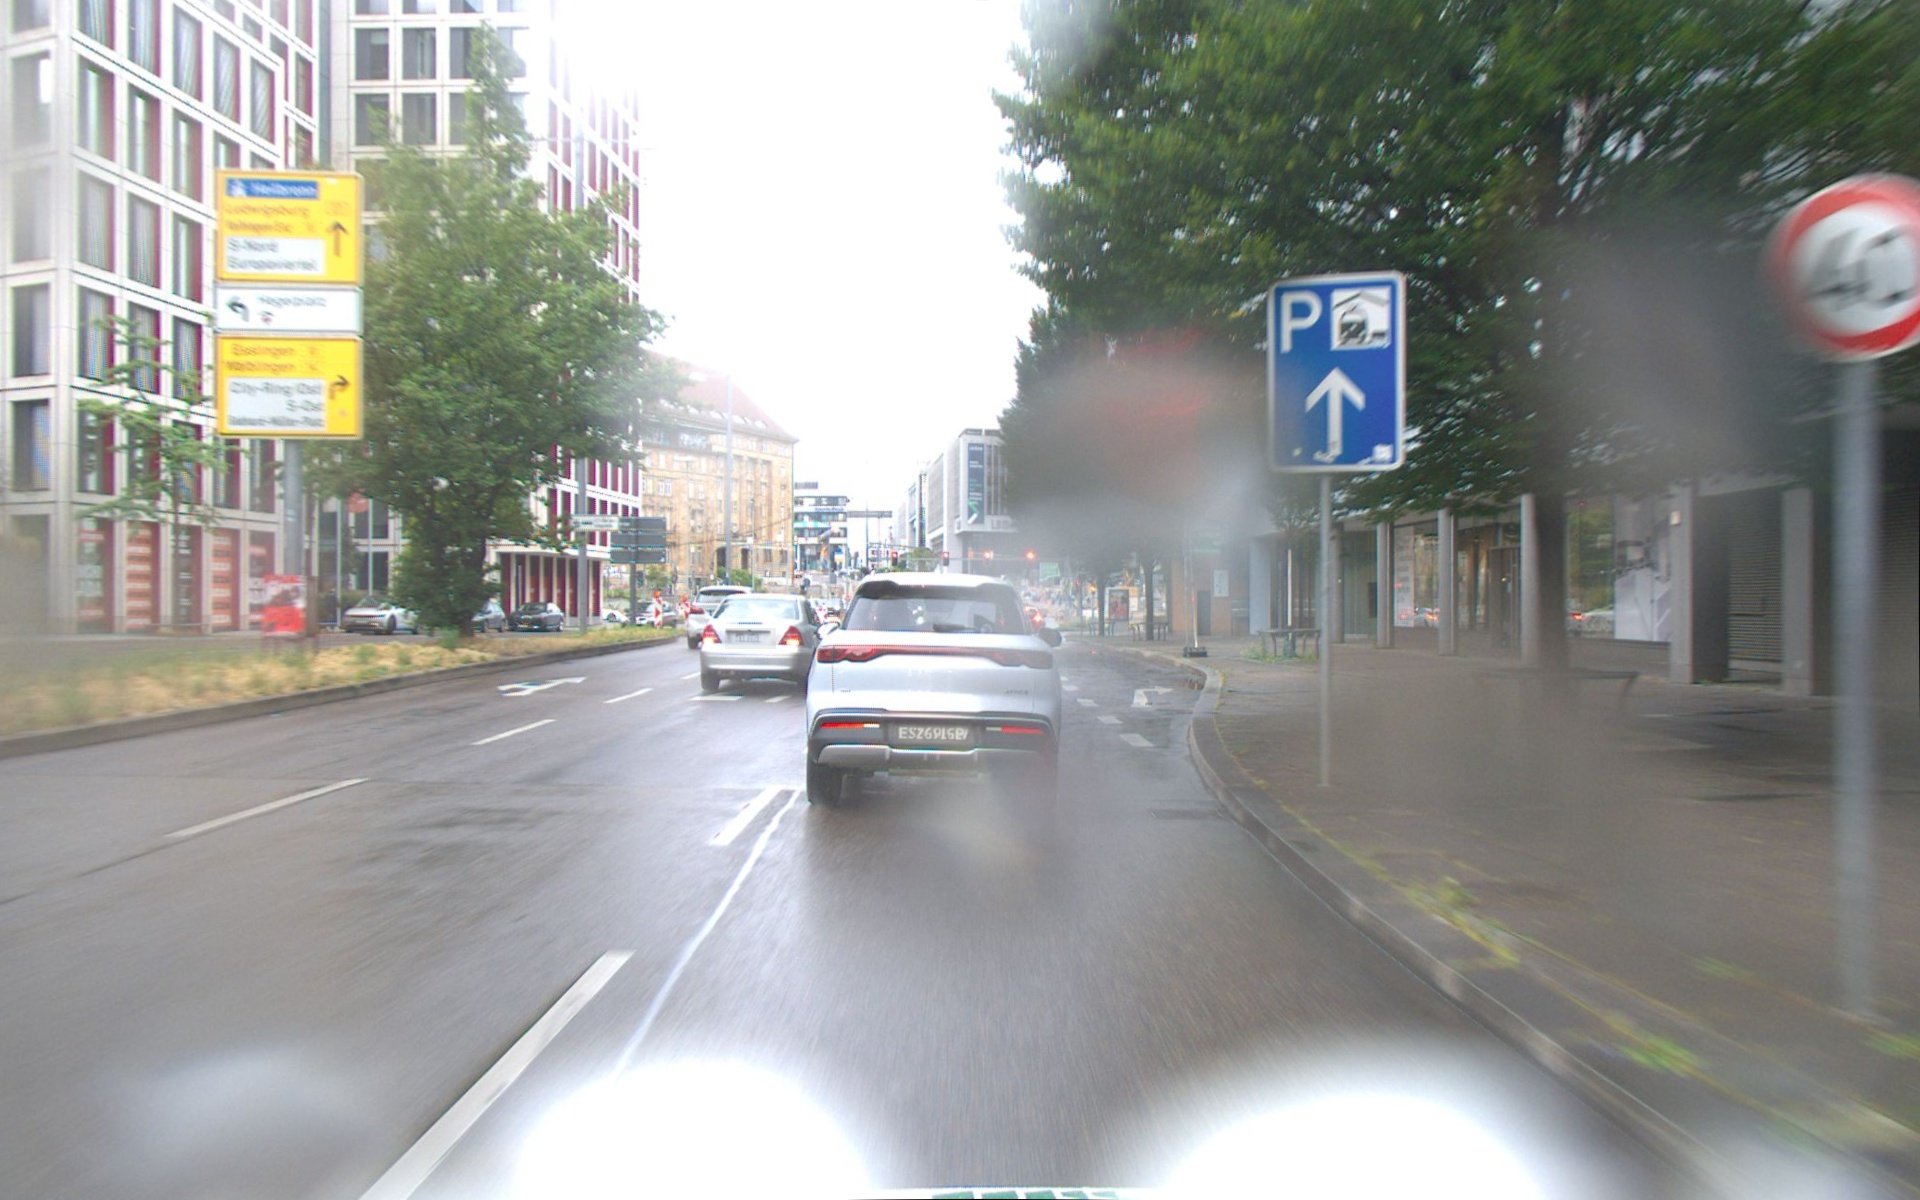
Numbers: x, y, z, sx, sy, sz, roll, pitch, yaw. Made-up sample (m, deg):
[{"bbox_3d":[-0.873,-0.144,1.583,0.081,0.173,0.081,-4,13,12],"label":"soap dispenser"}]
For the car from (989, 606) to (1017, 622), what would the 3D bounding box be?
[{"bbox_3d":[5.057,1.630,195.285,1.963,1.848,3.978,2,-1,-19],"label":"car"}]

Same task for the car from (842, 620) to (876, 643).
[{"bbox_3d":[-6.571,2.063,107.948,1.746,1.397,3.994,1,-1,2],"label":"car"}]

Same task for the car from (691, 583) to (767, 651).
[{"bbox_3d":[-5.959,0.475,42.999,1.699,1.644,3.995,1,-1,-5],"label":"car"}]

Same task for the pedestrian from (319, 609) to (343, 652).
[{"bbox_3d":[-26.120,1.275,68.708,0.600,1.765,0.967,1,-2,0],"label":"pedestrian"}]

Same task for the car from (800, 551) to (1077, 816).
[{"bbox_3d":[-0.181,0.594,12.886,1.771,1.690,4.169,1,-1,-1],"label":"car"}]

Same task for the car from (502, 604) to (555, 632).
[{"bbox_3d":[-22.901,0.975,87.925,1.662,1.449,3.956,-1,-1,1],"label":"car"}]

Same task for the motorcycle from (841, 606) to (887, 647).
[{"bbox_3d":[-2.440,0.671,42.375,0.922,1.007,2.295,1,-1,3],"label":"motorcycle"}]

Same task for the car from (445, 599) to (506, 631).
[{"bbox_3d":[-23.036,0.727,78.726,1.662,1.449,3.956,-1,-1,1],"label":"car"}]

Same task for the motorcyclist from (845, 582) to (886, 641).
[{"bbox_3d":[-2.433,0.303,42.616,0.922,1.501,1.100,1,-2,2],"label":"motorcyclist"}]

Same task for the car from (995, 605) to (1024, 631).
[{"bbox_3d":[3.350,1.210,111.328,1.746,1.628,4.488,1,-1,4],"label":"car"}]

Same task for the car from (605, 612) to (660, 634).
[{"bbox_3d":[-27.337,1.933,137.963,4.308,1.691,1.992,2,-1,-15],"label":"car"}]

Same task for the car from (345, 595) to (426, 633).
[{"bbox_3d":[-23.284,0.584,67.214,1.662,1.449,4.374,-1,-1,1],"label":"car"}]

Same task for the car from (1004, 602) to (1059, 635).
[{"bbox_3d":[3.595,0.952,82.897,1.851,1.571,3.995,1,-1,16],"label":"car"}]

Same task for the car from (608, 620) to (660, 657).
[{"bbox_3d":[-15.417,1.814,78.332,1.789,1.661,4.870,1,-1,-4],"label":"car"}]

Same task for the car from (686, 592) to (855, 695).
[{"bbox_3d":[-2.840,0.670,25.688,1.696,1.428,4.385,1,-1,5],"label":"car"}]
